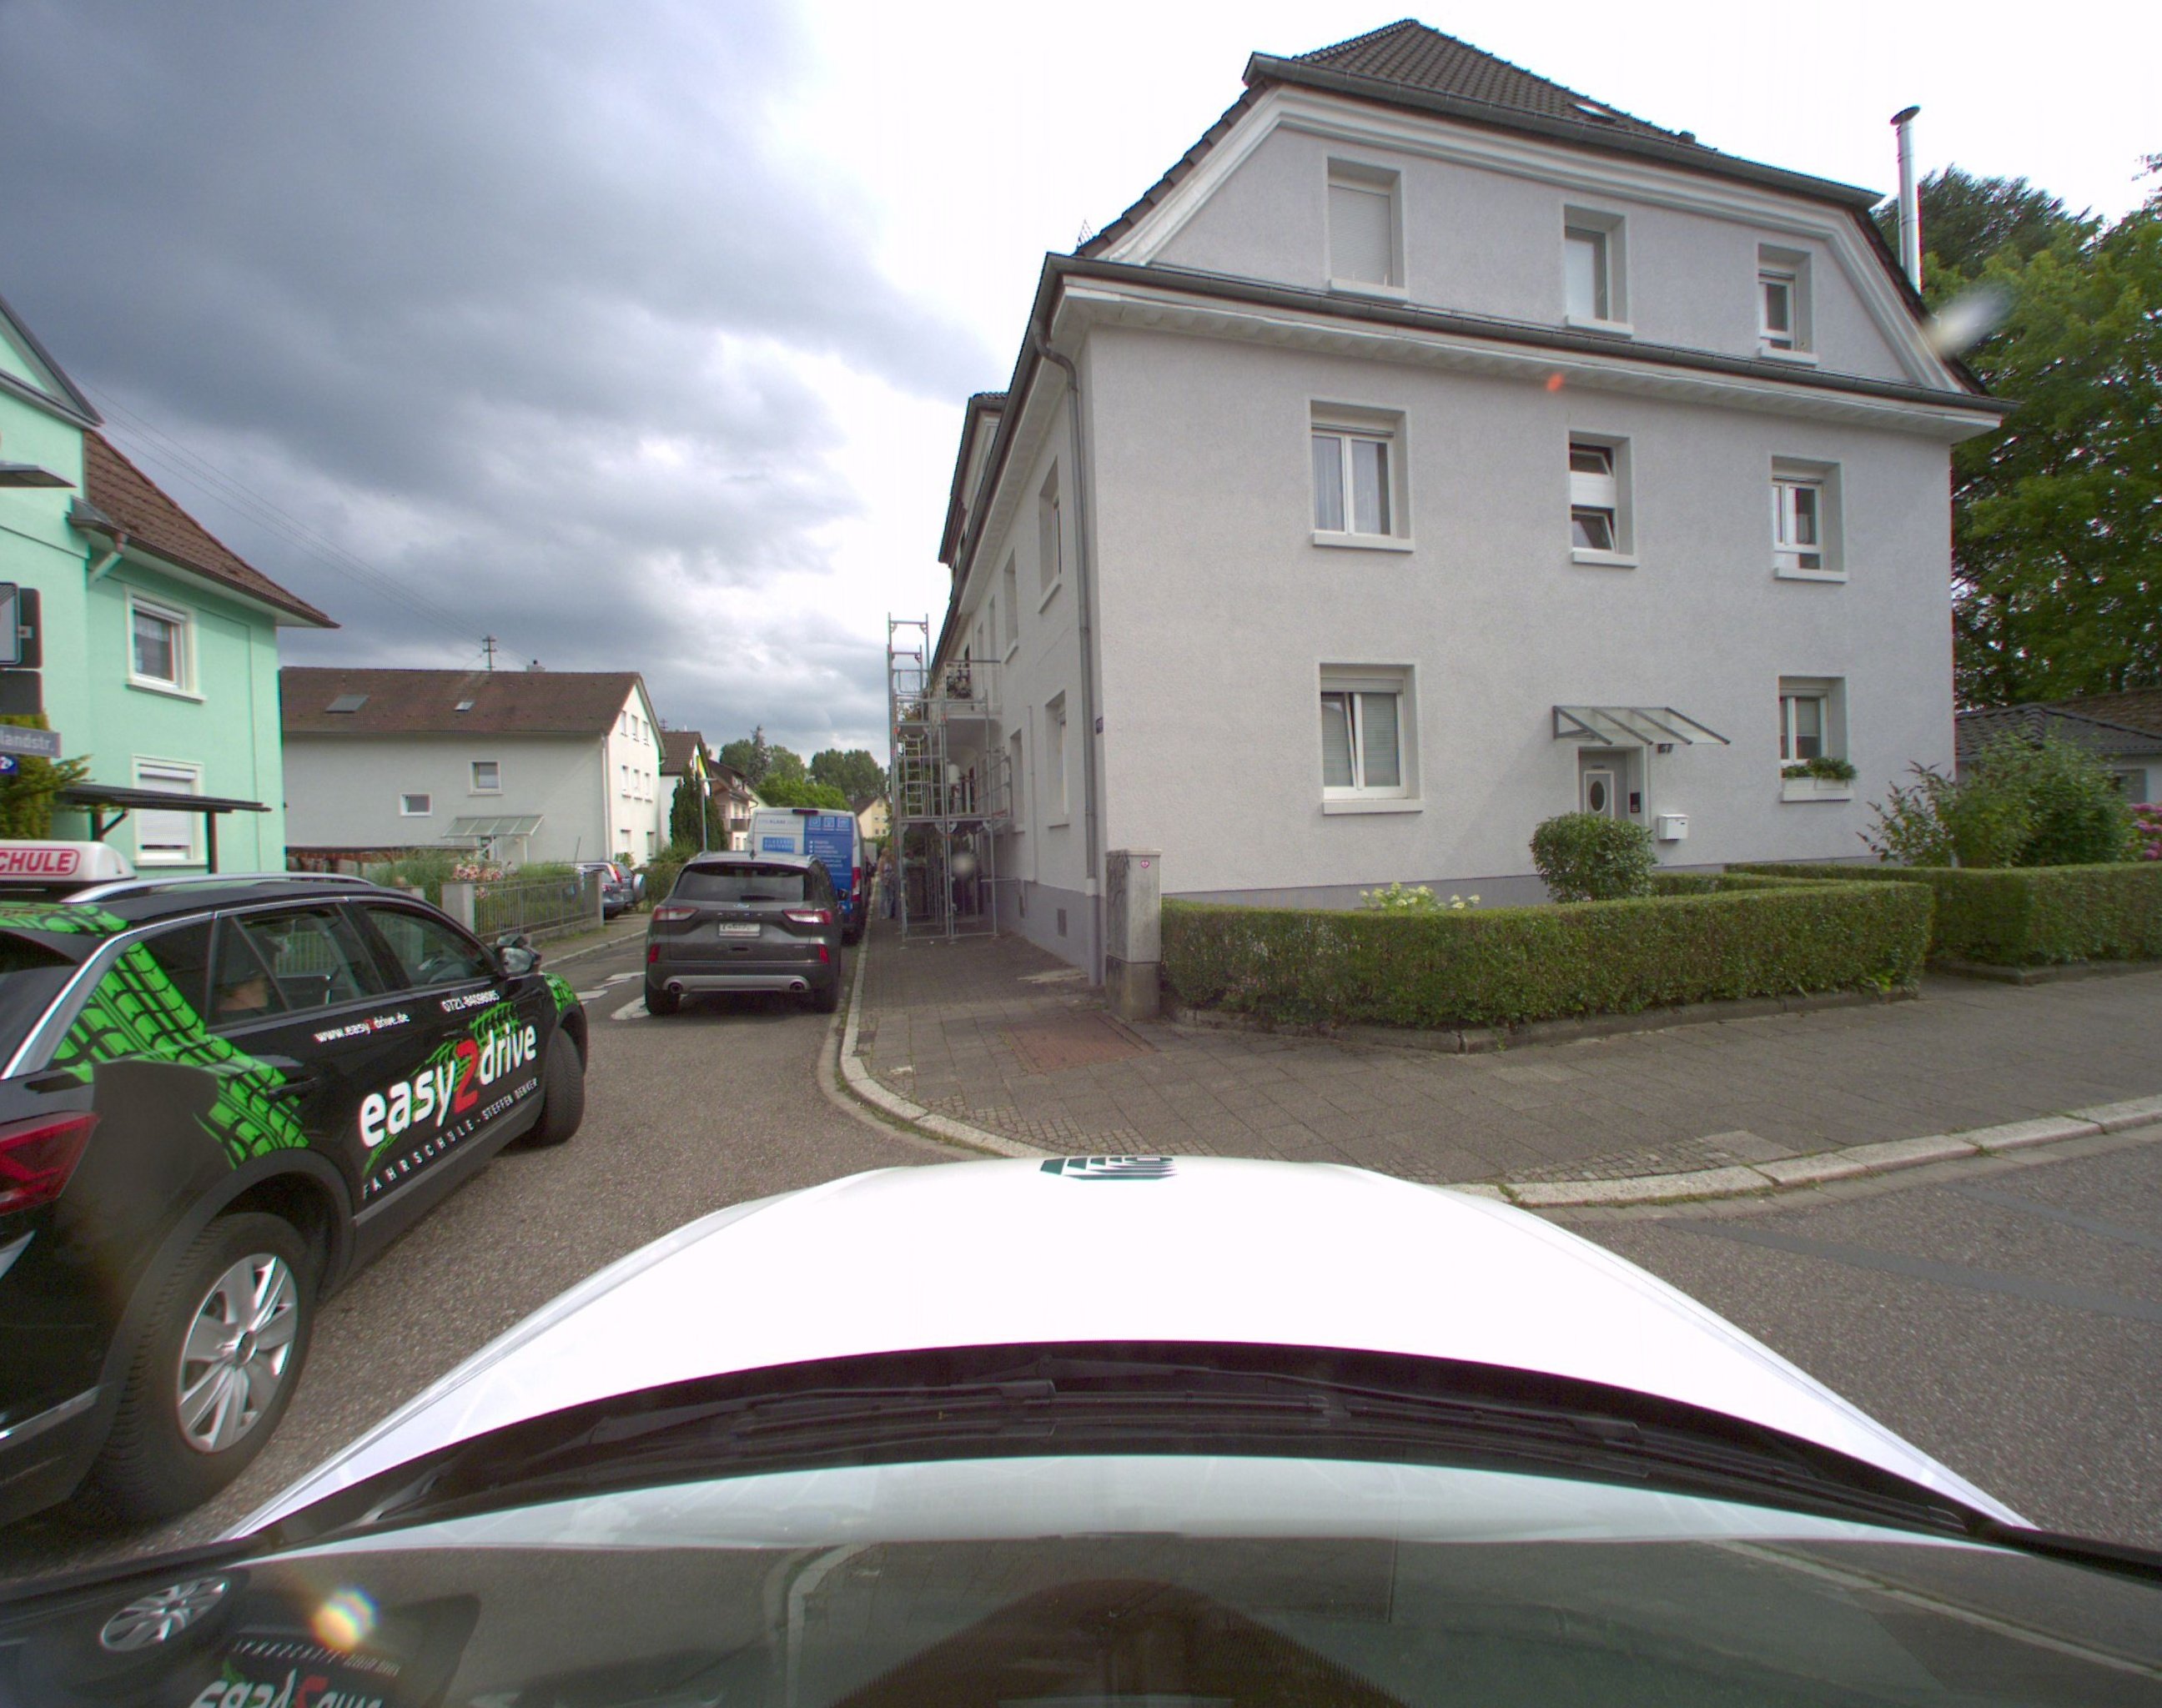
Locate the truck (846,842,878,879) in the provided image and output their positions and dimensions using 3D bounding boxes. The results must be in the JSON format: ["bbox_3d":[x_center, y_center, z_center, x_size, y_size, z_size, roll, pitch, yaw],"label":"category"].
[{"bbox_3d":[-16.537,0.464,61.462,2.134,2.657,4.559,-2,1,-16],"label":"truck"}]

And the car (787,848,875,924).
[{"bbox_3d":[-6.780,0.778,22.234,1.998,1.772,4.317,-2,1,-16],"label":"car"}]

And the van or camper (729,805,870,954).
[{"bbox_3d":[-5.465,0.409,16.505,2.195,2.459,5.029,-2,1,-14],"label":"van or camper"}]

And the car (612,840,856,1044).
[{"bbox_3d":[-3.745,0.770,9.549,1.998,1.726,4.317,-2,1,-16],"label":"car"}]

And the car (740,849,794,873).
[{"bbox_3d":[-26.126,0.558,67.879,3.997,1.772,1.859,-2,-1,-18],"label":"car"}]

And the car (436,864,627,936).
[{"bbox_3d":[-13.508,1.088,20.244,3.581,1.500,1.578,-3,0,-18],"label":"car"}]

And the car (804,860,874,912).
[{"bbox_3d":[-8.037,0.990,27.110,1.998,1.455,4.317,-2,1,-16],"label":"car"}]

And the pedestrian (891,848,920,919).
[{"bbox_3d":[-4.180,0.702,19.411,0.602,1.629,0.622,-2,-1,-13],"label":"pedestrian"}]

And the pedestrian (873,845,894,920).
[{"bbox_3d":[-4.771,0.678,19.689,0.408,1.762,0.511,-2,-1,-13],"label":"pedestrian"}]

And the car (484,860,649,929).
[{"bbox_3d":[-14.346,1.077,22.929,3.581,1.667,1.578,-3,0,-18],"label":"car"}]

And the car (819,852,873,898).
[{"bbox_3d":[-10.049,0.842,34.813,1.998,1.749,4.317,-2,1,-16],"label":"car"}]

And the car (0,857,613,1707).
[{"bbox_3d":[-3.277,0.822,2.959,1.820,1.520,4.020,-1,-1,-17],"label":"car"}]
